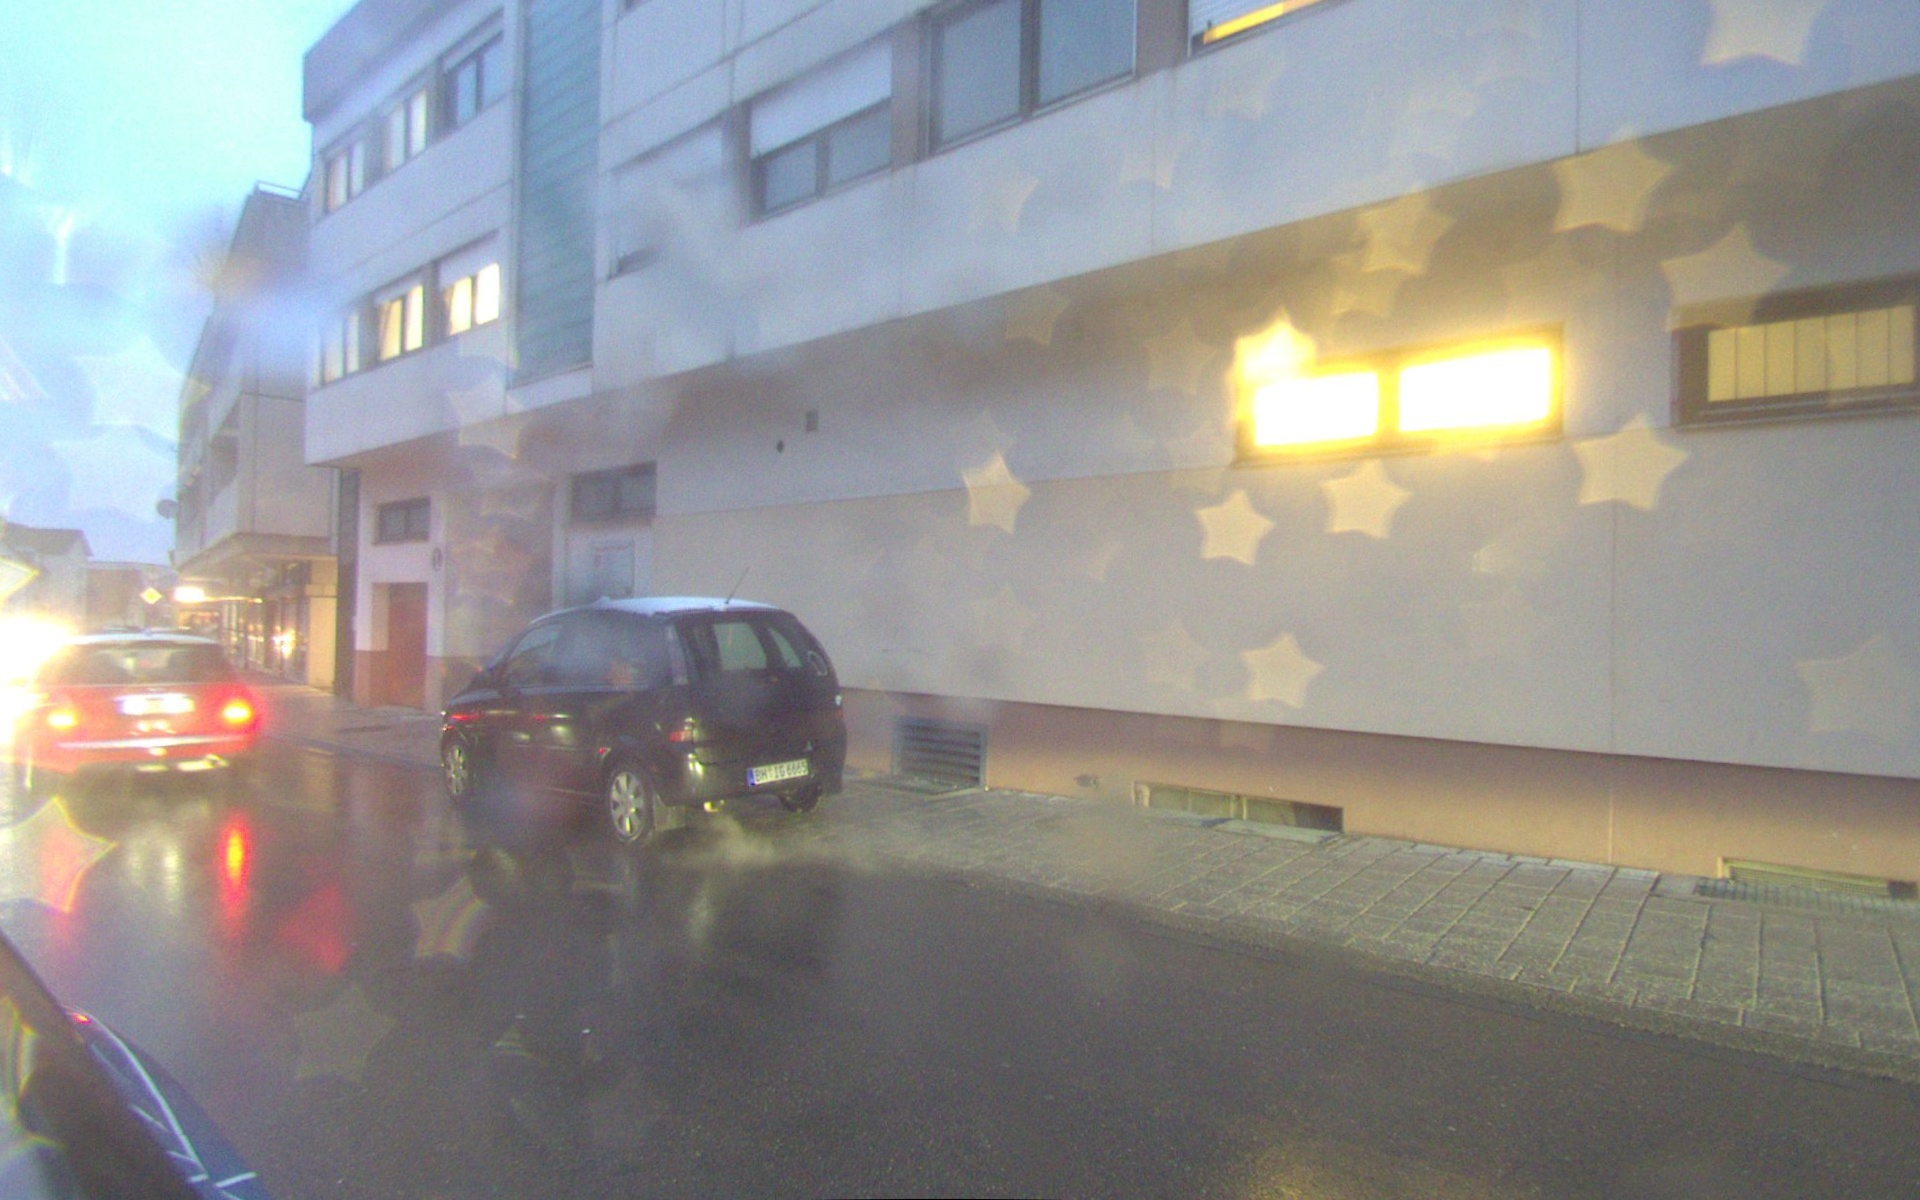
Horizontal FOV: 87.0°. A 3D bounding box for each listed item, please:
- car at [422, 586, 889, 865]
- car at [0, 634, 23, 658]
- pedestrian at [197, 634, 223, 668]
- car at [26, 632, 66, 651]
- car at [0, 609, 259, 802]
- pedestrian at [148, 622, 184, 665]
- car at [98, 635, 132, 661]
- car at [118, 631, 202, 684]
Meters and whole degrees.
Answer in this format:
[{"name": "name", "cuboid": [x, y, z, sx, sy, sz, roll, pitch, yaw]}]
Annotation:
[{"name": "car", "cuboid": [-2.532, 0.791, 7.955, 3.810, 1.655, 1.775, -2, -1, 41]}, {"name": "car", "cuboid": [-64.870, 3.098, 68.405, 1.770, 1.522, 4.009, 3, -4, -37]}, {"name": "pedestrian", "cuboid": [-30.391, 2.062, 41.004, 0.746, 1.320, 0.829, 0, -1, -43]}, {"name": "car", "cuboid": [-76.974, 3.487, 85.303, 1.770, 1.522, 4.011, 3, -3, -33]}, {"name": "car", "cuboid": [-8.225, 0.892, 9.903, 3.407, 1.547, 1.619, -2, -2, 44]}, {"name": "pedestrian", "cuboid": [-36.998, 2.028, 47.194, 1.182, 1.953, 0.979, 2, -3, -33]}, {"name": "car", "cuboid": [-56.807, 3.195, 68.095, 1.699, 1.626, 3.822, -1, -1, -40]}, {"name": "car", "cuboid": [-23.614, 1.638, 29.818, 1.655, 1.457, 4.433, 2, -2, -42]}]
